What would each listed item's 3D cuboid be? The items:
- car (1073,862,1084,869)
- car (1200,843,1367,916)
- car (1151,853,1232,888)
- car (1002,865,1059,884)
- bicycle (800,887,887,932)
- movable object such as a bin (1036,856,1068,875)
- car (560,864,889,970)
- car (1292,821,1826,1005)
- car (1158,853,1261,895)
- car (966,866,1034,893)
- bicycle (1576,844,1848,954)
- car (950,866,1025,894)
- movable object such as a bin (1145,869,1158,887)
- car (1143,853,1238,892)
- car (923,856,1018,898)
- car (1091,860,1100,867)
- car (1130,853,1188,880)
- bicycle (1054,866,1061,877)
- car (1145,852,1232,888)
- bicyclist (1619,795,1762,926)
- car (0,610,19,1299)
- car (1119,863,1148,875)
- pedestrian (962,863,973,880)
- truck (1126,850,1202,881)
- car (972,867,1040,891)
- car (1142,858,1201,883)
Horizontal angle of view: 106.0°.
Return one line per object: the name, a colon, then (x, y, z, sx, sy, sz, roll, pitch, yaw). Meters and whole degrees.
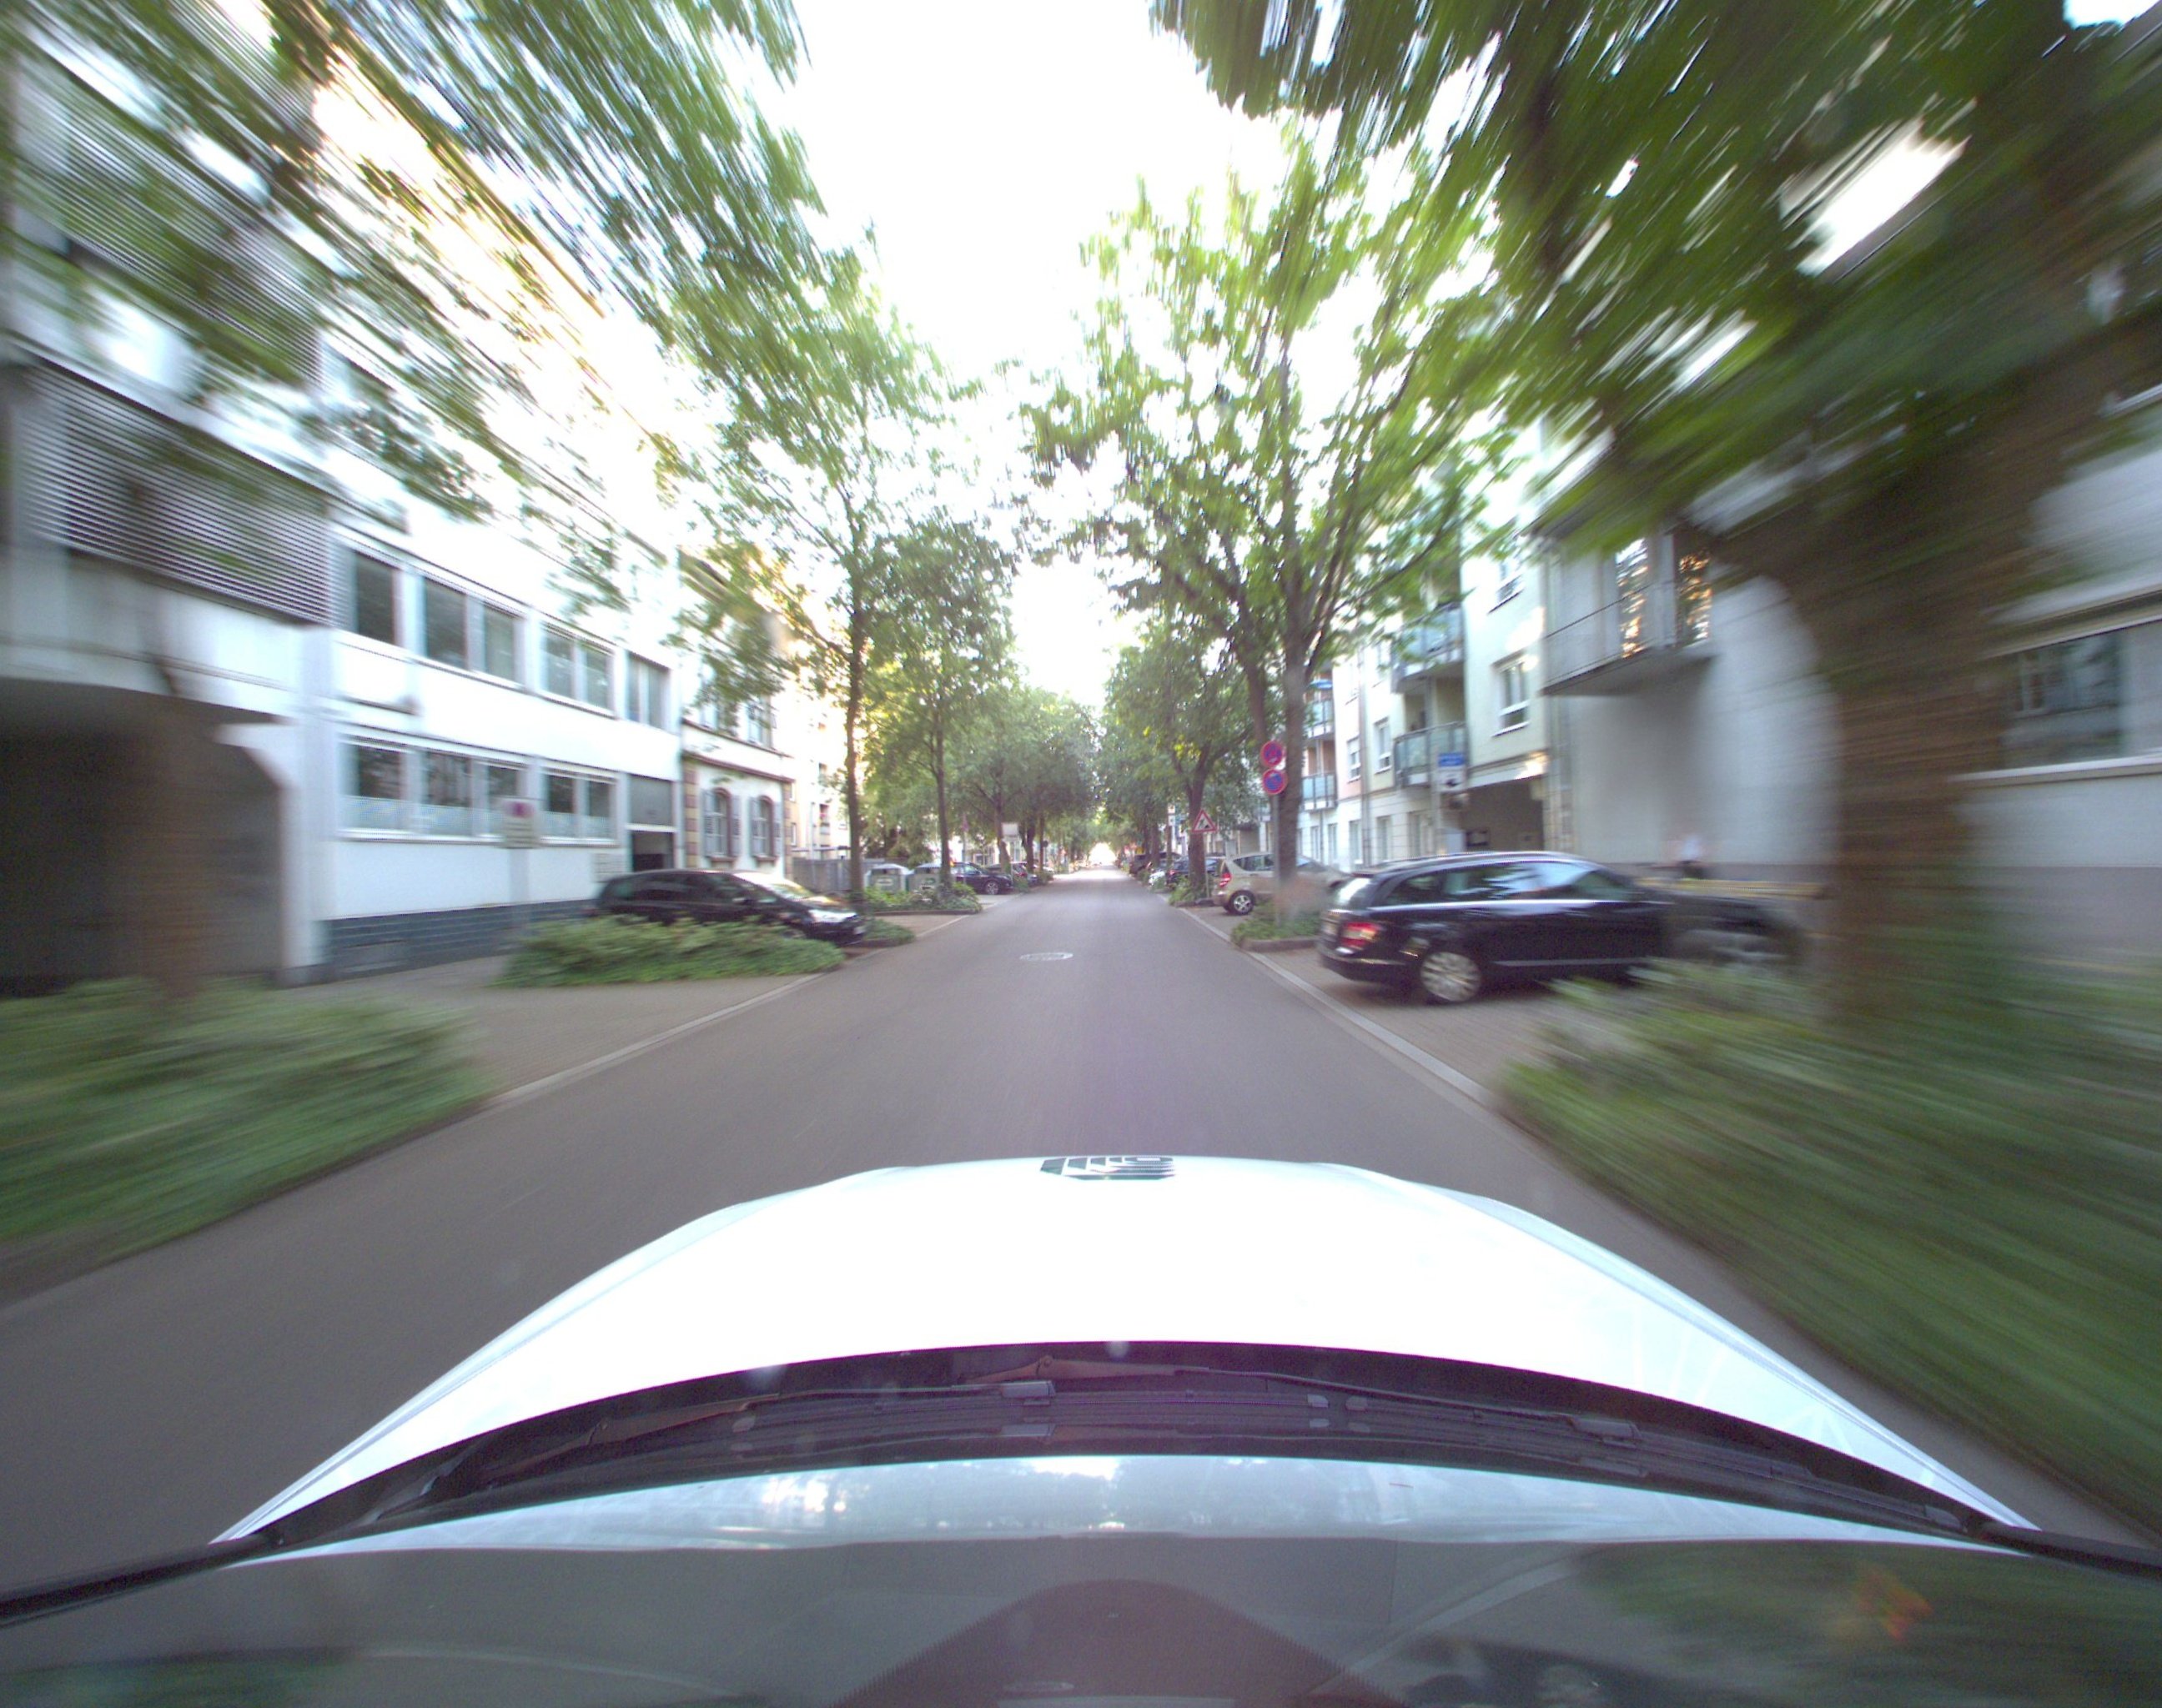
car: (-0.521, 2.129, 153.067, 1.989, 1.288, 3.996, -2, -1, -3)
car: (5.332, 0.671, 21.855, 3.956, 1.585, 1.916, -4, -1, 0)
car: (5.994, 0.893, 44.571, 4.206, 1.438, 1.931, -5, -1, 3)
car: (-4.341, 1.760, 70.197, 4.599, 1.552, 2.077, -1, -1, 3)
bicycle: (-4.822, 1.119, 16.575, 1.545, 0.830, 0.614, -2, -1, 4)
movable object such as a bin: (-3.848, 1.511, 108.069, 4.039, 2.383, 2.780, -2, 0, -4)
car: (-6.127, 1.054, 14.471, 4.834, 1.622, 2.161, -2, -1, 2)
car: (4.725, 0.589, 8.725, 4.437, 1.427, 2.014, -5, -1, 5)
car: (5.609, 0.875, 35.882, 4.076, 1.451, 1.932, -5, -1, -4)
car: (-5.111, 1.609, 51.697, 3.966, 1.566, 1.933, -2, -1, 6)
bicycle: (7.825, 0.504, 10.460, 0.619, 1.164, 3.396, -2, -1, -4)
car: (-5.315, 1.463, 46.653, 3.974, 1.464, 1.922, -2, -1, -1)
movable object such as a bin: (4.598, 1.544, 53.047, 0.757, 1.084, 0.786, -3, -1, 2)
car: (5.591, 0.918, 41.994, 4.584, 1.467, 1.797, -5, 4, 0)
car: (-5.572, 1.147, 41.438, 4.490, 1.955, 2.000, -1, -1, 0)
car: (3.477, 2.347, 195.556, 2.003, 1.613, 4.119, -2, -1, 0)
car: (6.435, 1.031, 67.948, 4.585, 2.066, 2.197, -2, -1, 0)
bicycle: (-2.678, 2.005, 93.502, 0.681, 1.152, 1.978, -2, 0, -4)
car: (6.185, 0.897, 47.160, 4.631, 1.617, 2.008, -5, -1, -3)
bicyclist: (8.006, 0.083, 10.758, 0.968, 1.604, 1.135, -2, -1, -3)
car: (-6.571, 0.431, 2.065, 4.985, 2.573, 2.121, -2, -1, 1)
car: (7.538, 2.125, 116.605, 3.970, 1.585, 2.002, -2, -1, 3)
pedestrian: (-12.653, 1.945, 90.874, 0.883, 1.851, 0.877, -2, -1, 6)
truck: (6.563, 0.931, 65.203, 5.865, 2.311, 2.213, -2, -1, 2)
car: (-4.943, 1.632, 54.323, 4.272, 1.430, 1.880, -2, -1, 1)
car: (6.131, 1.125, 55.584, 3.764, 1.544, 1.877, -1, -1, 0)
